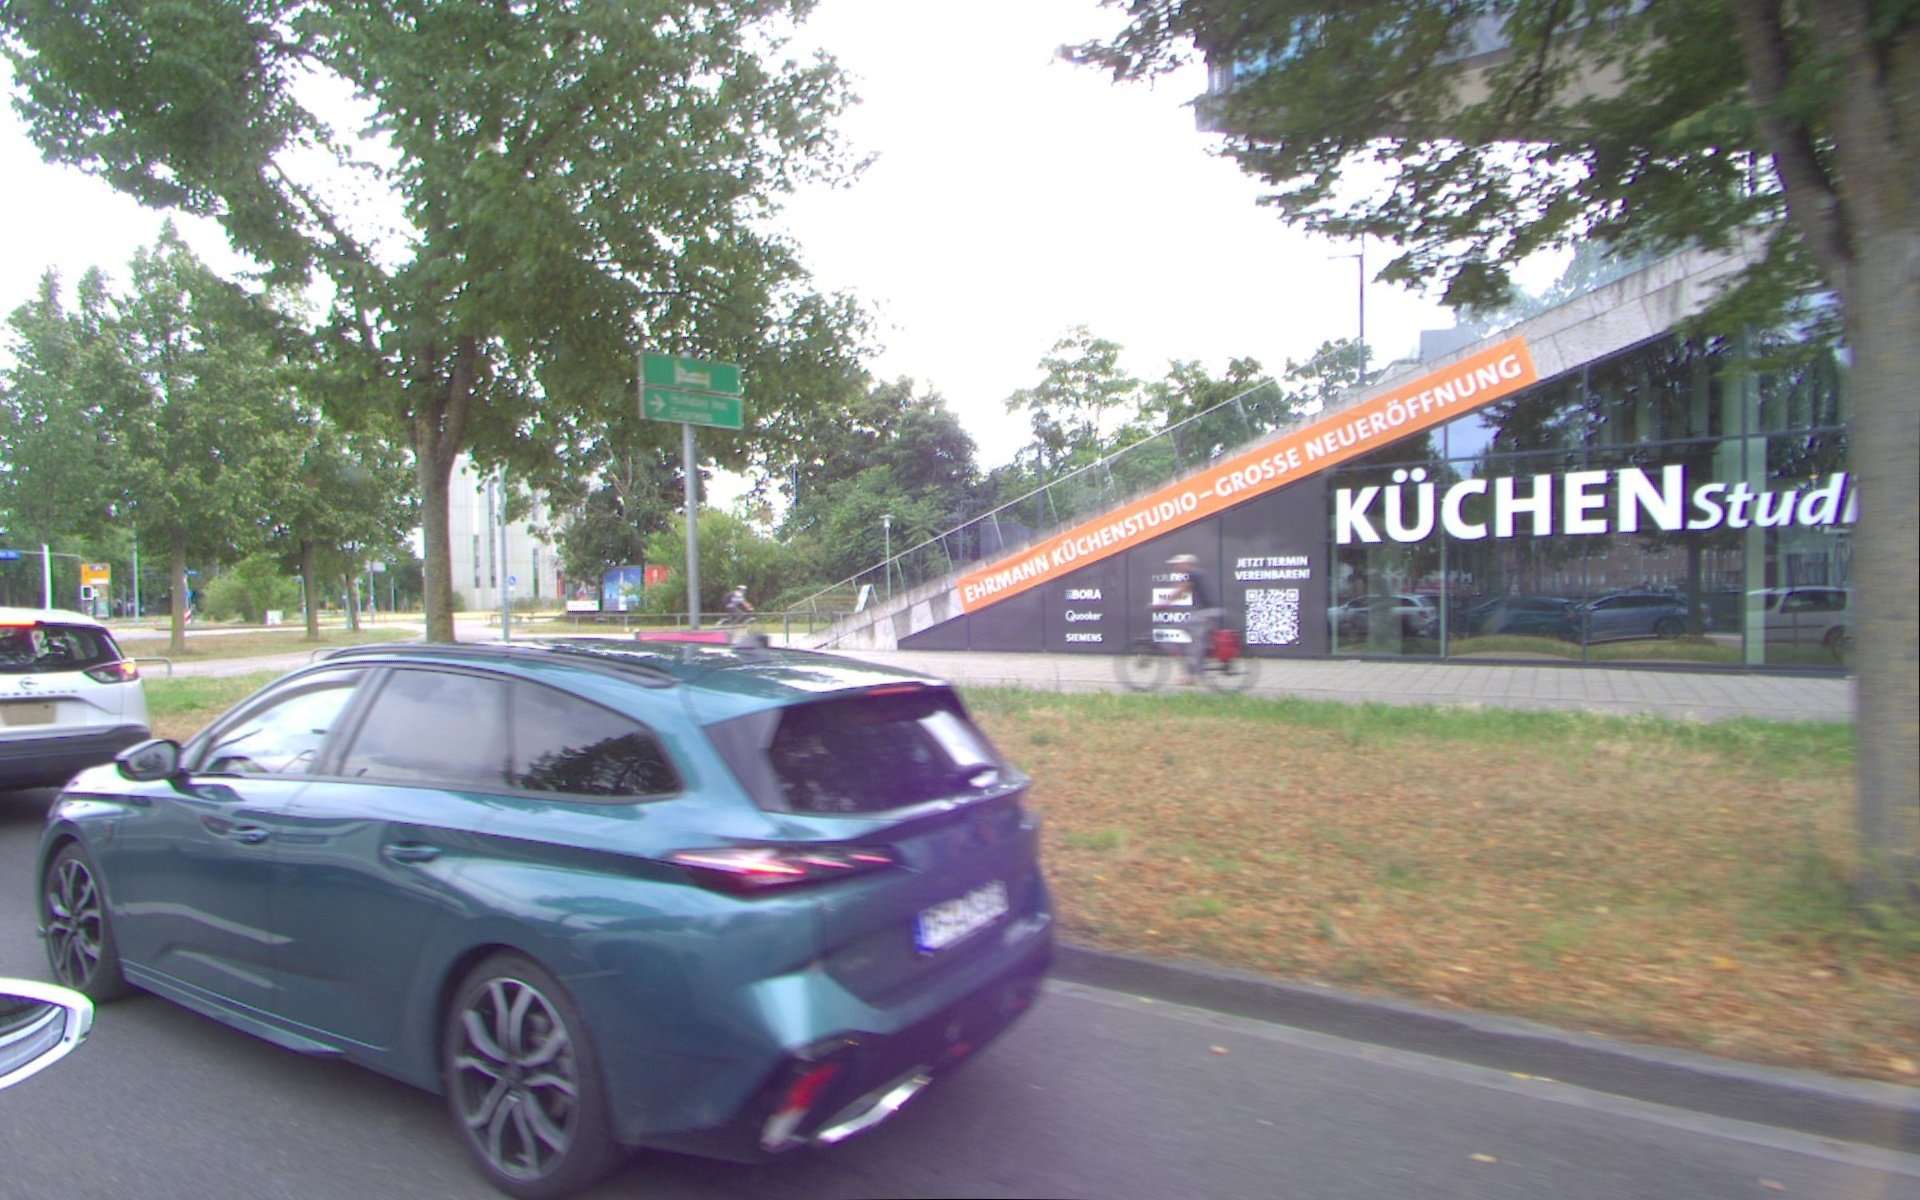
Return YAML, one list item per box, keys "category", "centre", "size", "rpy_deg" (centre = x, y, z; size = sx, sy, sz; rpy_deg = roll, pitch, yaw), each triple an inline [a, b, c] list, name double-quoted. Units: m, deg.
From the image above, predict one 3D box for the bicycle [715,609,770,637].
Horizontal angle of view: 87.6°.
- category: "bicycle"
  centre: [-7.846, 0.811, 36.159]
  size: [1.917, 0.997, 0.560]
  rpy_deg: [0, 0, -39]

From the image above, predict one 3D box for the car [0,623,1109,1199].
- category: "car"
  centre: [-1.739, 0.832, 3.898]
  size: [4.245, 1.450, 1.786]
  rpy_deg: [0, -1, 29]

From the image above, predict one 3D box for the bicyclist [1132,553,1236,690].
- category: "bicyclist"
  centre: [3.064, 0.264, 13.663]
  size: [1.112, 1.761, 0.994]
  rpy_deg: [0, 3, 31]

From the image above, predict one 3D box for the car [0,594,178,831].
- category: "car"
  centre: [-8.220, 0.795, 8.114]
  size: [3.854, 1.646, 1.783]
  rpy_deg: [0, 0, 33]

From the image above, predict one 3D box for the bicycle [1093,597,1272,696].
- category: "bicycle"
  centre: [3.030, 0.598, 13.733]
  size: [2.234, 1.251, 0.900]
  rpy_deg: [0, 1, 31]

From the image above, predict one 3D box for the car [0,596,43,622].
- category: "car"
  centre: [-62.544, 0.599, 66.690]
  size: [4.352, 1.658, 1.774]
  rpy_deg: [0, 0, 42]
